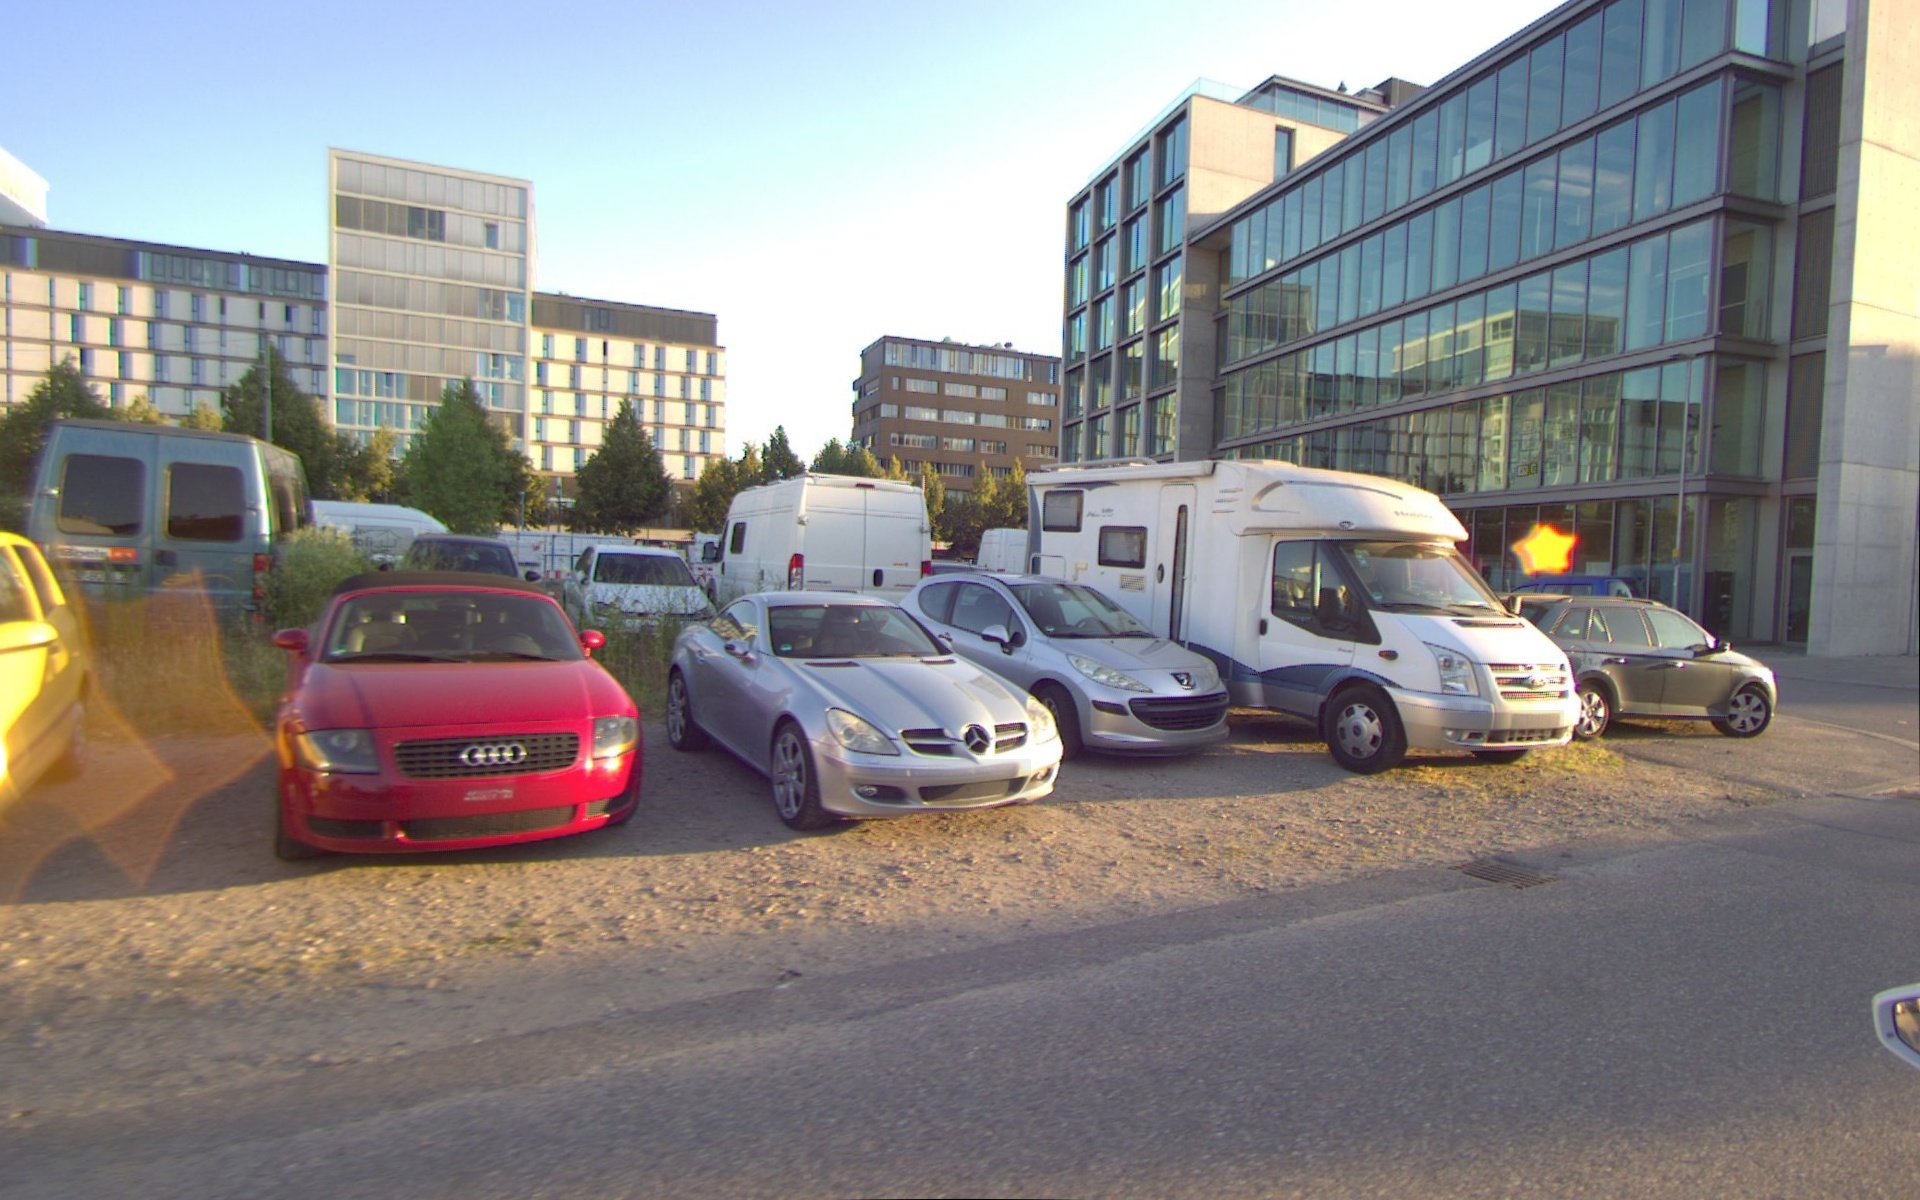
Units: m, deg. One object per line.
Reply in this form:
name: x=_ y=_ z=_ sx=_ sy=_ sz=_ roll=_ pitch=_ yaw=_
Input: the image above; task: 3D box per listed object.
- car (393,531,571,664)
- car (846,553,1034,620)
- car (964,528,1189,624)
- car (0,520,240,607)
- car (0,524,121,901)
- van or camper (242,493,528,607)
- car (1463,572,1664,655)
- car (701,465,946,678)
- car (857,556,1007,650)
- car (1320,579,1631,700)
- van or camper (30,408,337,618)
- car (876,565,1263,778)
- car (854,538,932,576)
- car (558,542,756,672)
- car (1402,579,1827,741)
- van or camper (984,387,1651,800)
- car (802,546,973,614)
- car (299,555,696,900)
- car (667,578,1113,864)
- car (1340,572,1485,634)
car: x=-6.386 y=-0.119 z=13.221 sx=1.675 sy=1.496 sz=3.583 roll=1 pitch=3 yaw=-33
car: x=-0.488 y=-0.327 z=24.904 sx=4.341 sy=1.520 sz=1.659 roll=1 pitch=3 yaw=-22
car: x=3.731 y=-0.737 z=32.005 sx=6.878 sy=2.840 sz=2.203 roll=0 pitch=2 yaw=-21
car: x=-15.920 y=-0.649 z=18.875 sx=3.635 sy=1.481 sz=1.698 roll=1 pitch=1 yaw=-26
car: x=-5.249 y=0.394 z=4.612 sx=1.687 sy=1.539 sz=3.606 roll=1 pitch=3 yaw=-33
van or camper: x=-15.432 y=-1.295 z=27.485 sx=6.552 sy=2.726 sz=2.007 roll=1 pitch=3 yaw=-26
car: x=14.914 y=0.241 z=25.094 sx=1.819 sy=1.856 sz=4.080 roll=-1 pitch=2 yaw=-20
car: x=-2.485 y=-0.510 z=16.070 sx=2.192 sy=2.709 sz=6.224 roll=1 pitch=3 yaw=-24
car: x=-0.601 y=-0.007 z=18.106 sx=1.493 sy=1.467 sz=3.428 roll=1 pitch=3 yaw=-24
car: x=6.904 y=0.497 z=13.495 sx=3.666 sy=1.441 sz=1.660 roll=1 pitch=2 yaw=-21
van or camper: x=-8.626 y=-0.909 z=11.632 sx=1.907 sy=1.916 sz=4.322 roll=1 pitch=3 yaw=-25
car: x=0.832 y=0.495 z=9.471 sx=1.675 sy=1.496 sz=3.581 roll=0 pitch=3 yaw=-34
car: x=-3.767 y=-2.418 z=56.622 sx=4.068 sy=2.053 sz=1.659 roll=0 pitch=4 yaw=-22
car: x=-4.260 y=0.006 z=13.764 sx=1.675 sy=1.496 sz=3.583 roll=1 pitch=3 yaw=-33
car: x=7.380 y=0.645 z=11.359 sx=4.293 sy=1.539 sz=1.684 roll=2 pitch=3 yaw=-19
van or camper: x=2.994 y=-0.180 z=10.670 sx=2.379 sy=2.937 sz=6.710 roll=1 pitch=2 yaw=-29
car: x=-1.991 y=-0.538 z=27.467 sx=4.341 sy=1.643 sz=1.659 roll=2 pitch=3 yaw=-22
car: x=-3.067 y=0.482 z=6.249 sx=1.687 sy=1.385 sz=3.703 roll=1 pitch=3 yaw=-33
car: x=-0.776 y=0.605 z=7.273 sx=1.673 sy=1.346 sz=3.787 roll=1 pitch=3 yaw=-31
car: x=13.438 y=0.032 z=30.083 sx=1.749 sy=1.652 sz=4.039 roll=-1 pitch=2 yaw=-17
